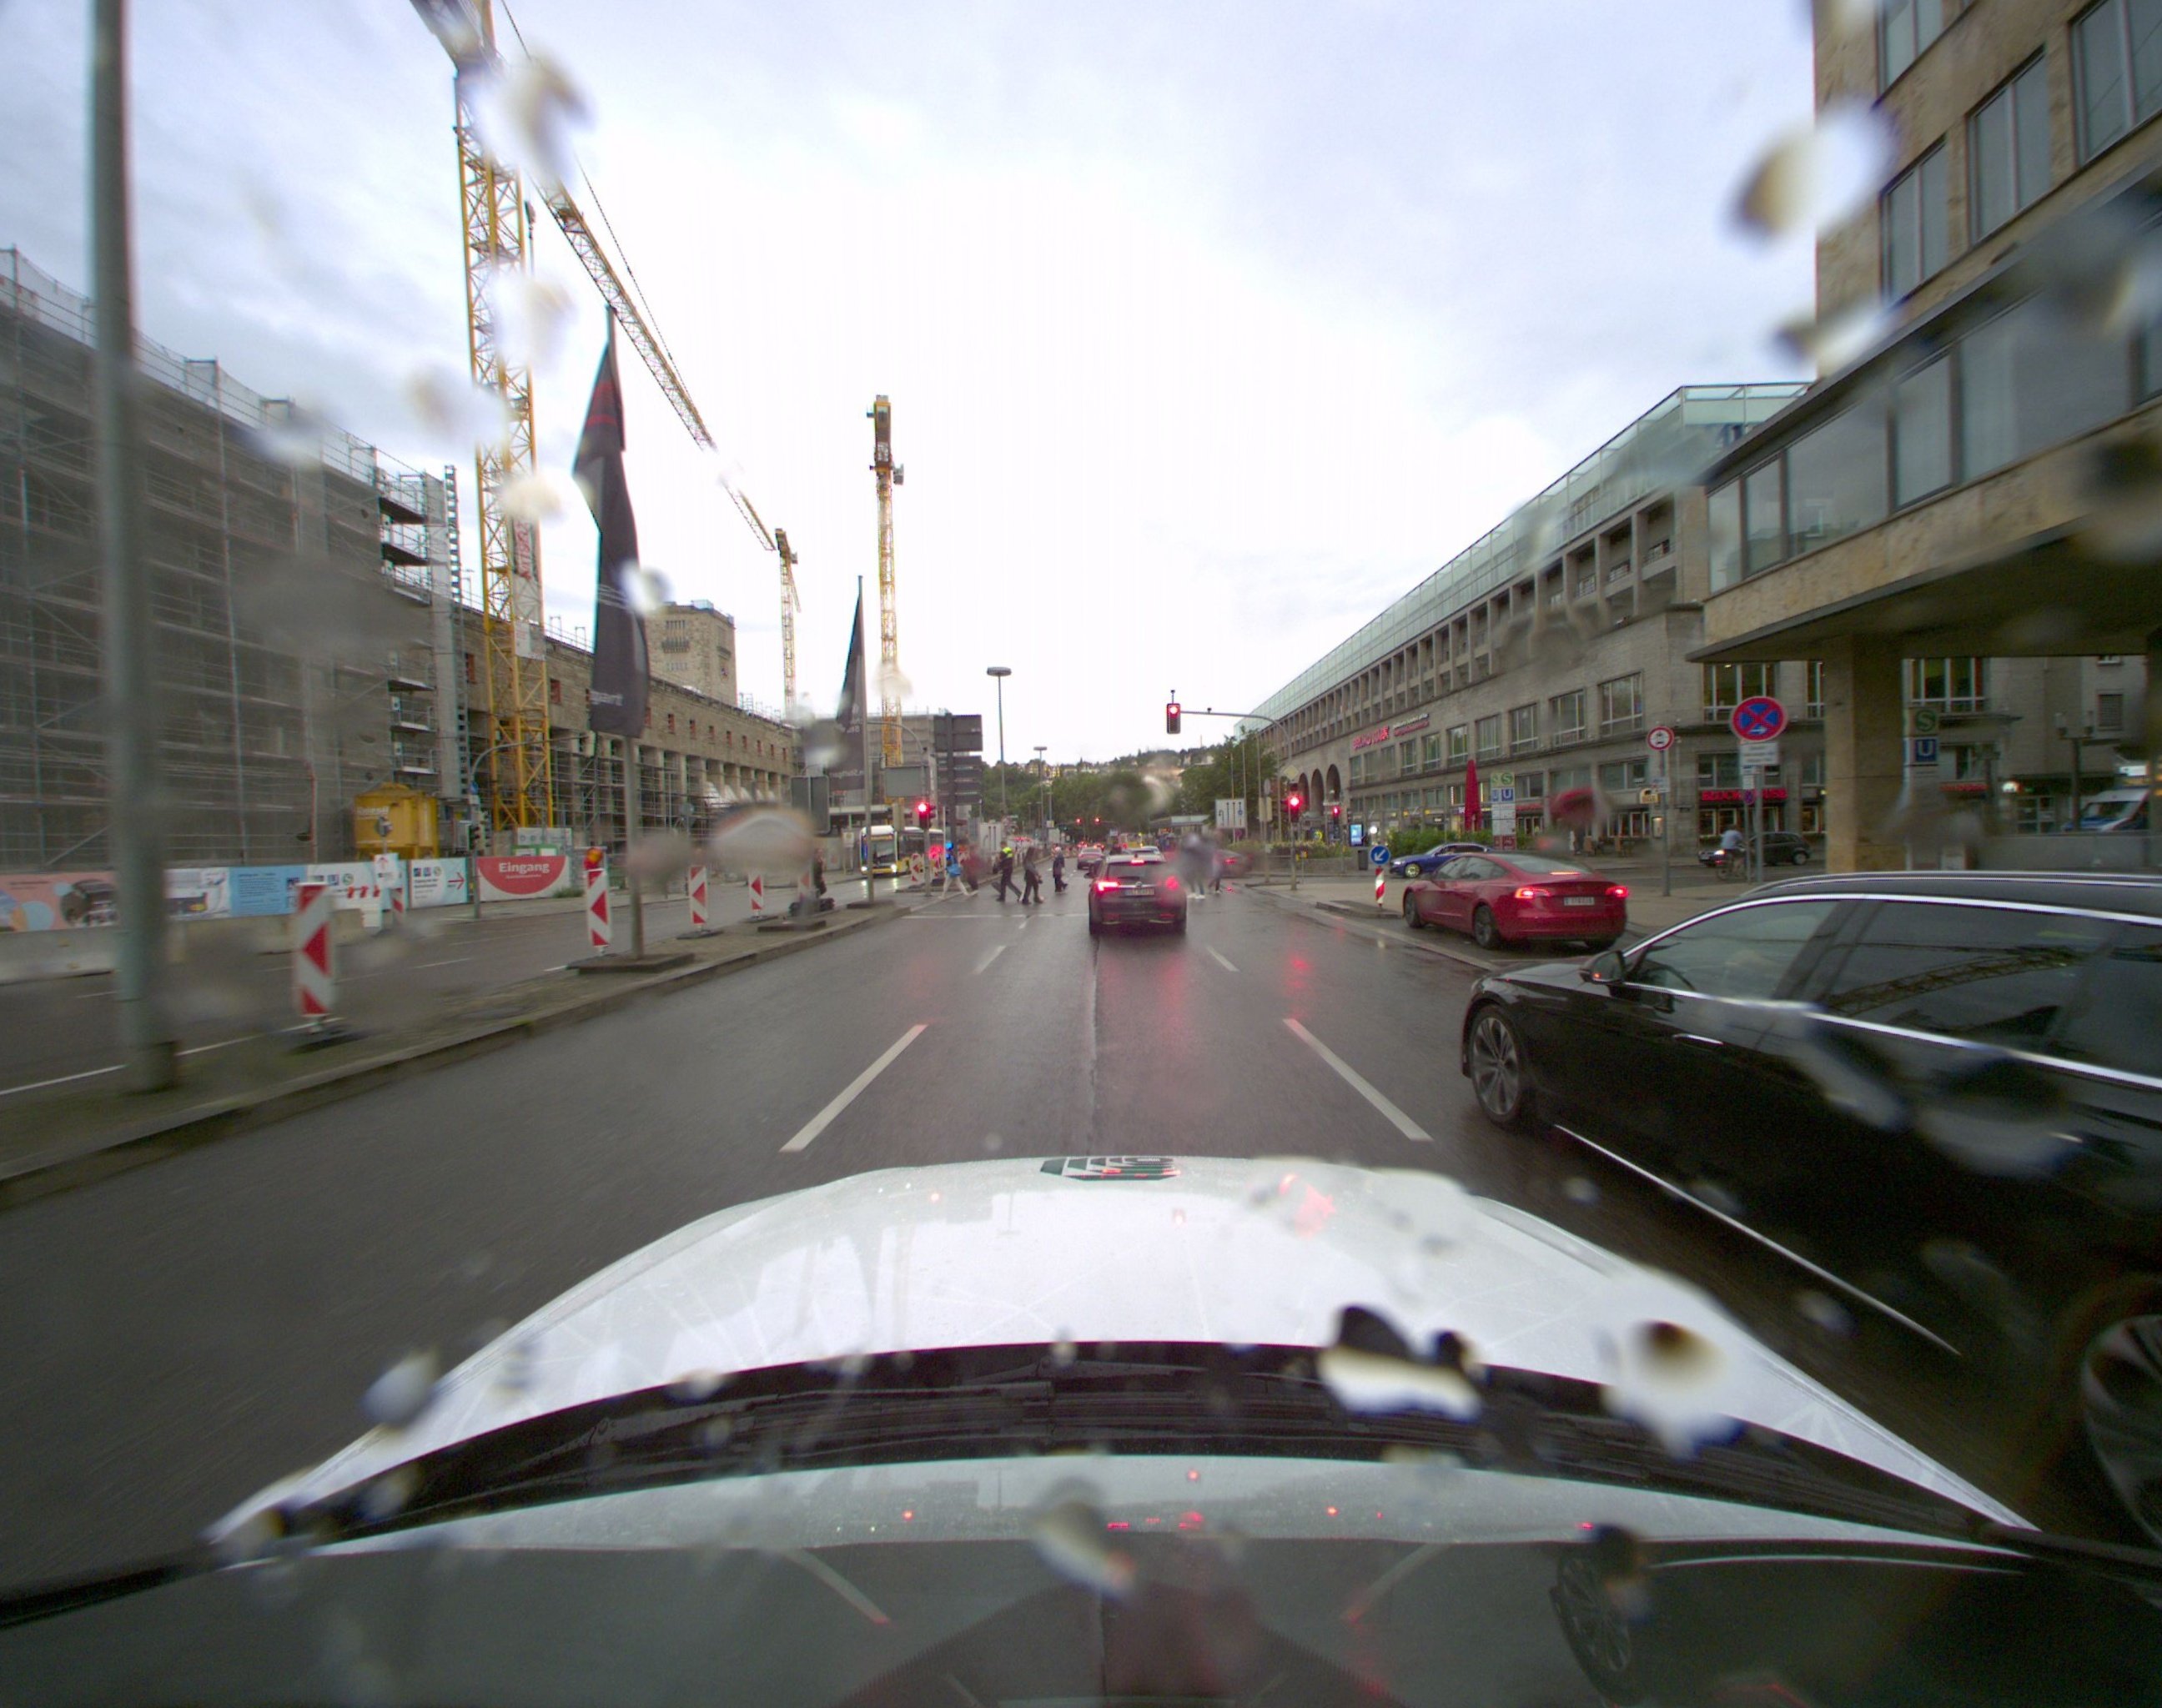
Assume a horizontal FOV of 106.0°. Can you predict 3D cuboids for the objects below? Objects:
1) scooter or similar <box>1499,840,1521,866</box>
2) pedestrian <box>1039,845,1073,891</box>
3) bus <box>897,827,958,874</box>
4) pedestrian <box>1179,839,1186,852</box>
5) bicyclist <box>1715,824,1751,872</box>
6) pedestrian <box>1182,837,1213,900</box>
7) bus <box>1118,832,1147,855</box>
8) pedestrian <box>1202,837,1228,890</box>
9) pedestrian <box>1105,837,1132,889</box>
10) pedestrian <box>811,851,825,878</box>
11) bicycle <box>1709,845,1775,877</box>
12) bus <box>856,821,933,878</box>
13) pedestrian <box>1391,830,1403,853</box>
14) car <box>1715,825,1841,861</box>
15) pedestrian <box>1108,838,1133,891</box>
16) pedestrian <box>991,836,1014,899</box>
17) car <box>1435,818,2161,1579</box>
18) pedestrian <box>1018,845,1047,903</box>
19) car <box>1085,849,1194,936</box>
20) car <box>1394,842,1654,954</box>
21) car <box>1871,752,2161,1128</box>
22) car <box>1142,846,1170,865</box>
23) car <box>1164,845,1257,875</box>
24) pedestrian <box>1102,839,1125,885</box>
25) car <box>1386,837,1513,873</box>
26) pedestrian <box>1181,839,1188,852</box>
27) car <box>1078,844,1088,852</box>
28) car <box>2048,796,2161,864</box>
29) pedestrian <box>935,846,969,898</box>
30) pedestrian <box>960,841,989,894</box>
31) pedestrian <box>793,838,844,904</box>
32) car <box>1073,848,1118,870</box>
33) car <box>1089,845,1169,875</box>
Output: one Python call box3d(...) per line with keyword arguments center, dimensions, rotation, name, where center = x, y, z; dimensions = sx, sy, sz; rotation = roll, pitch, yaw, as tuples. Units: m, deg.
box3d(center=(19.747, -0.032, 37.499), dimensions=(0.290, 1.189, 1.014), rotation=(0, 0, -16), name="scooter or similar")
box3d(center=(-0.859, 0.484, 28.150), dimensions=(0.777, 1.561, 0.881), rotation=(-1, 0, 37), name="pedestrian")
box3d(center=(-12.527, -0.255, 67.426), dimensions=(2.658, 3.602, 10.216), rotation=(0, 0, 2), name="bus")
box3d(center=(12.912, -1.108, 103.682), dimensions=(0.761, 1.690, 0.824), rotation=(0, 0, -2), name="pedestrian")
box3d(center=(21.454, -0.189, 26.797), dimensions=(0.717, 1.540, 0.609), rotation=(0, 0, -17), name="bicyclist")
box3d(center=(3.502, 0.429, 24.559), dimensions=(0.798, 1.890, 0.618), rotation=(0, 0, -7), name="pedestrian")
box3d(center=(8.016, -1.594, 129.257), dimensions=(4.157, 3.469, 14.661), rotation=(0, 0, 2), name="bus")
box3d(center=(4.503, 0.317, 27.409), dimensions=(0.563, 1.752, 0.684), rotation=(-1, -1, 45), name="pedestrian")
box3d(center=(1.164, 0.287, 25.643), dimensions=(0.797, 1.608, 0.619), rotation=(0, 0, -2), name="pedestrian")
box3d(center=(-18.649, 0.743, 57.854), dimensions=(0.659, 1.855, 0.799), rotation=(-2, 0, 2), name="pedestrian")
box3d(center=(21.831, 0.226, 26.897), dimensions=(2.213, 1.009, 0.589), rotation=(0, 0, -18), name="bicycle")
box3d(center=(-12.893, -0.268, 57.242), dimensions=(2.658, 3.602, 10.244), rotation=(0, 0, 2), name="bus")
box3d(center=(27.068, -1.066, 69.760), dimensions=(0.760, 2.014, 0.825), rotation=(0, 0, 2), name="pedestrian")
box3d(center=(28.989, -0.440, 33.970), dimensions=(3.638, 1.398, 1.854), rotation=(0, 0, 4), name="car")
box3d(center=(1.296, 0.346, 26.734), dimensions=(0.753, 1.717, 0.466), rotation=(0, 0, -2), name="pedestrian")
box3d(center=(-2.361, 0.398, 24.478), dimensions=(0.576, 1.836, 0.820), rotation=(0, 0, 2), name="pedestrian")
box3d(center=(3.063, 0.674, 2.835), dimensions=(1.786, 1.501, 4.630), rotation=(0, 0, 2), name="car")
box3d(center=(-1.377, 0.555, 23.379), dimensions=(0.791, 1.626, 0.899), rotation=(0, 0, -2), name="pedestrian")
box3d(center=(1.073, 0.675, 16.082), dimensions=(1.868, 1.486, 4.001), rotation=(0, 0, 1), name="car")
box3d(center=(6.822, 0.593, 13.217), dimensions=(1.868, 1.486, 4.528), rotation=(0, 0, 2), name="car")
box3d(center=(6.412, 0.431, 3.232), dimensions=(1.868, 1.920, 4.937), rotation=(0, 0, 2), name="car")
box3d(center=(5.524, 0.106, 60.153), dimensions=(1.838, 1.398, 3.566), rotation=(0, 0, 2), name="car")
box3d(center=(6.334, 0.299, 40.213), dimensions=(1.769, 1.398, 4.348), rotation=(0, 0, -43), name="car")
box3d(center=(1.042, 0.247, 26.174), dimensions=(0.677, 1.474, 0.366), rotation=(0, 0, -3), name="pedestrian")
box3d(center=(15.273, 0.053, 33.973), dimensions=(4.600, 1.398, 1.765), rotation=(0, 0, 14), name="car")
box3d(center=(13.061, -1.079, 102.614), dimensions=(0.761, 1.690, 0.824), rotation=(0, 0, -2), name="pedestrian")
box3d(center=(0.462, -1.194, 157.476), dimensions=(1.752, 1.398, 3.566), rotation=(0, 0, 2), name="car")
box3d(center=(44.762, -0.995, 34.102), dimensions=(6.147, 2.761, 2.000), rotation=(0, 0, 0), name="car")
box3d(center=(-3.973, 0.545, 25.084), dimensions=(0.912, 1.563, 0.899), rotation=(0, 0, -2), name="pedestrian")
box3d(center=(-3.589, 0.456, 27.479), dimensions=(0.797, 1.717, 0.619), rotation=(-3, 0, -2), name="pedestrian")
box3d(center=(-7.283, 0.462, 22.649), dimensions=(1.093, 1.751, 0.653), rotation=(-3, 0, -1), name="pedestrian")
box3d(center=(1.040, 0.323, 54.254), dimensions=(1.739, 1.398, 4.558), rotation=(-1, 0, 18), name="car")
box3d(center=(2.286, 0.291, 40.306), dimensions=(1.764, 1.398, 4.494), rotation=(0, 0, -30), name="car")
